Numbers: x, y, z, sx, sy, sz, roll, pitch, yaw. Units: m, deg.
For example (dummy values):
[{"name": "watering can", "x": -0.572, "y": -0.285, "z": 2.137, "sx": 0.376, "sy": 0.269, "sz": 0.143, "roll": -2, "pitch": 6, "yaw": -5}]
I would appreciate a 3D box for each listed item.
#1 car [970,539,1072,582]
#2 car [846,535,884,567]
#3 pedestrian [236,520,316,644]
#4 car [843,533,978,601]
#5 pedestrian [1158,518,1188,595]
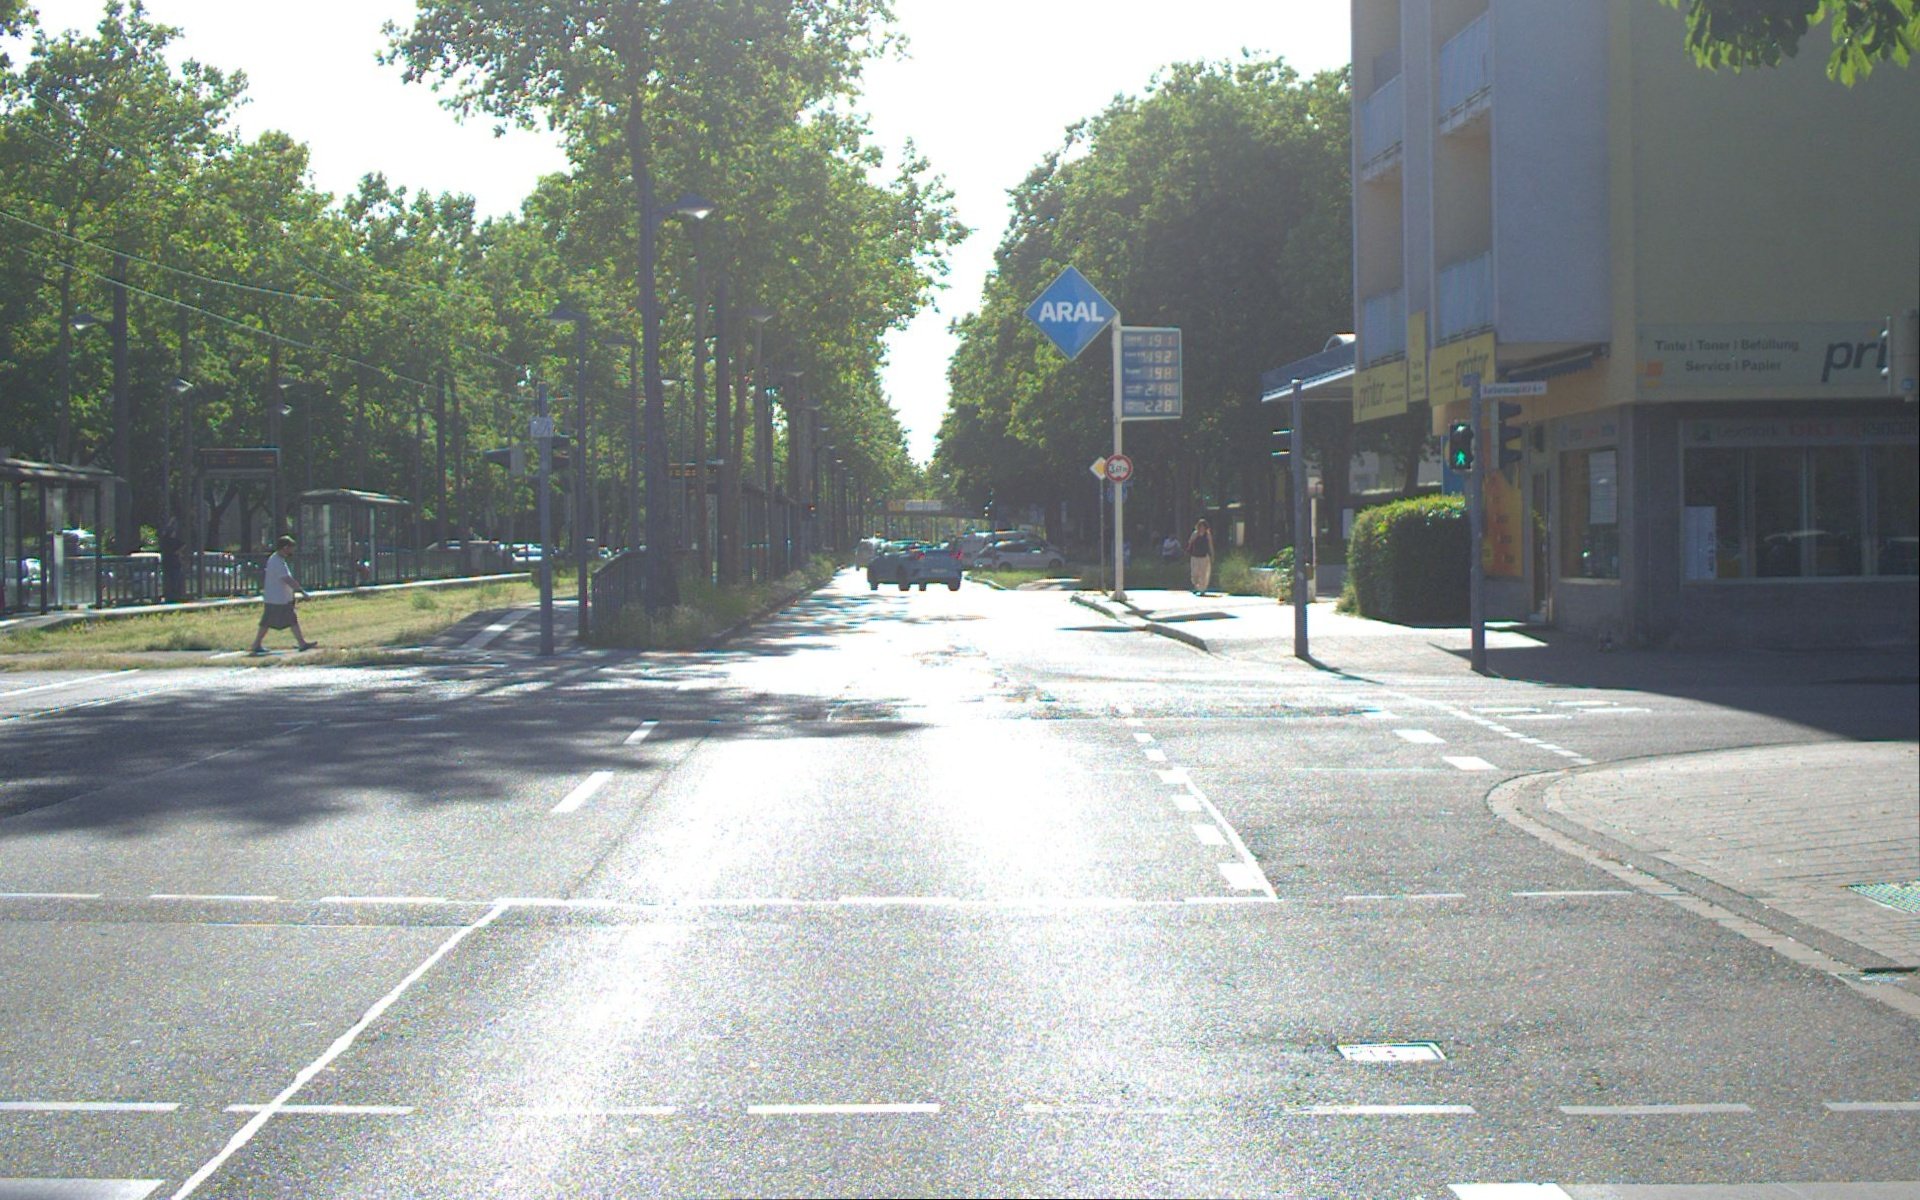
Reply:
[{"name": "car", "x": 2.608, "y": -1.698, "z": 147.761, "sx": 3.986, "sy": 1.744, "sz": 1.755, "roll": 1, "pitch": 1, "yaw": -29}, {"name": "car", "x": -4.974, "y": -2.554, "z": 179.776, "sx": 1.894, "sy": 1.605, "sz": 4.501, "roll": 2, "pitch": 1, "yaw": -2}, {"name": "pedestrian", "x": -9.053, "y": -0.244, "z": 45.528, "sx": 0.891, "sy": 1.601, "sz": 0.613, "roll": 2, "pitch": 1, "yaw": -1}, {"name": "car", "x": -1.480, "y": -0.993, "z": 101.295, "sx": 2.005, "sy": 1.853, "sz": 4.000, "roll": 1, "pitch": 1, "yaw": -36}, {"name": "pedestrian", "x": 4.876, "y": -0.992, "z": 78.700, "sx": 0.574, "sy": 1.741, "sz": 0.506, "roll": 2, "pitch": 1, "yaw": -1}]
